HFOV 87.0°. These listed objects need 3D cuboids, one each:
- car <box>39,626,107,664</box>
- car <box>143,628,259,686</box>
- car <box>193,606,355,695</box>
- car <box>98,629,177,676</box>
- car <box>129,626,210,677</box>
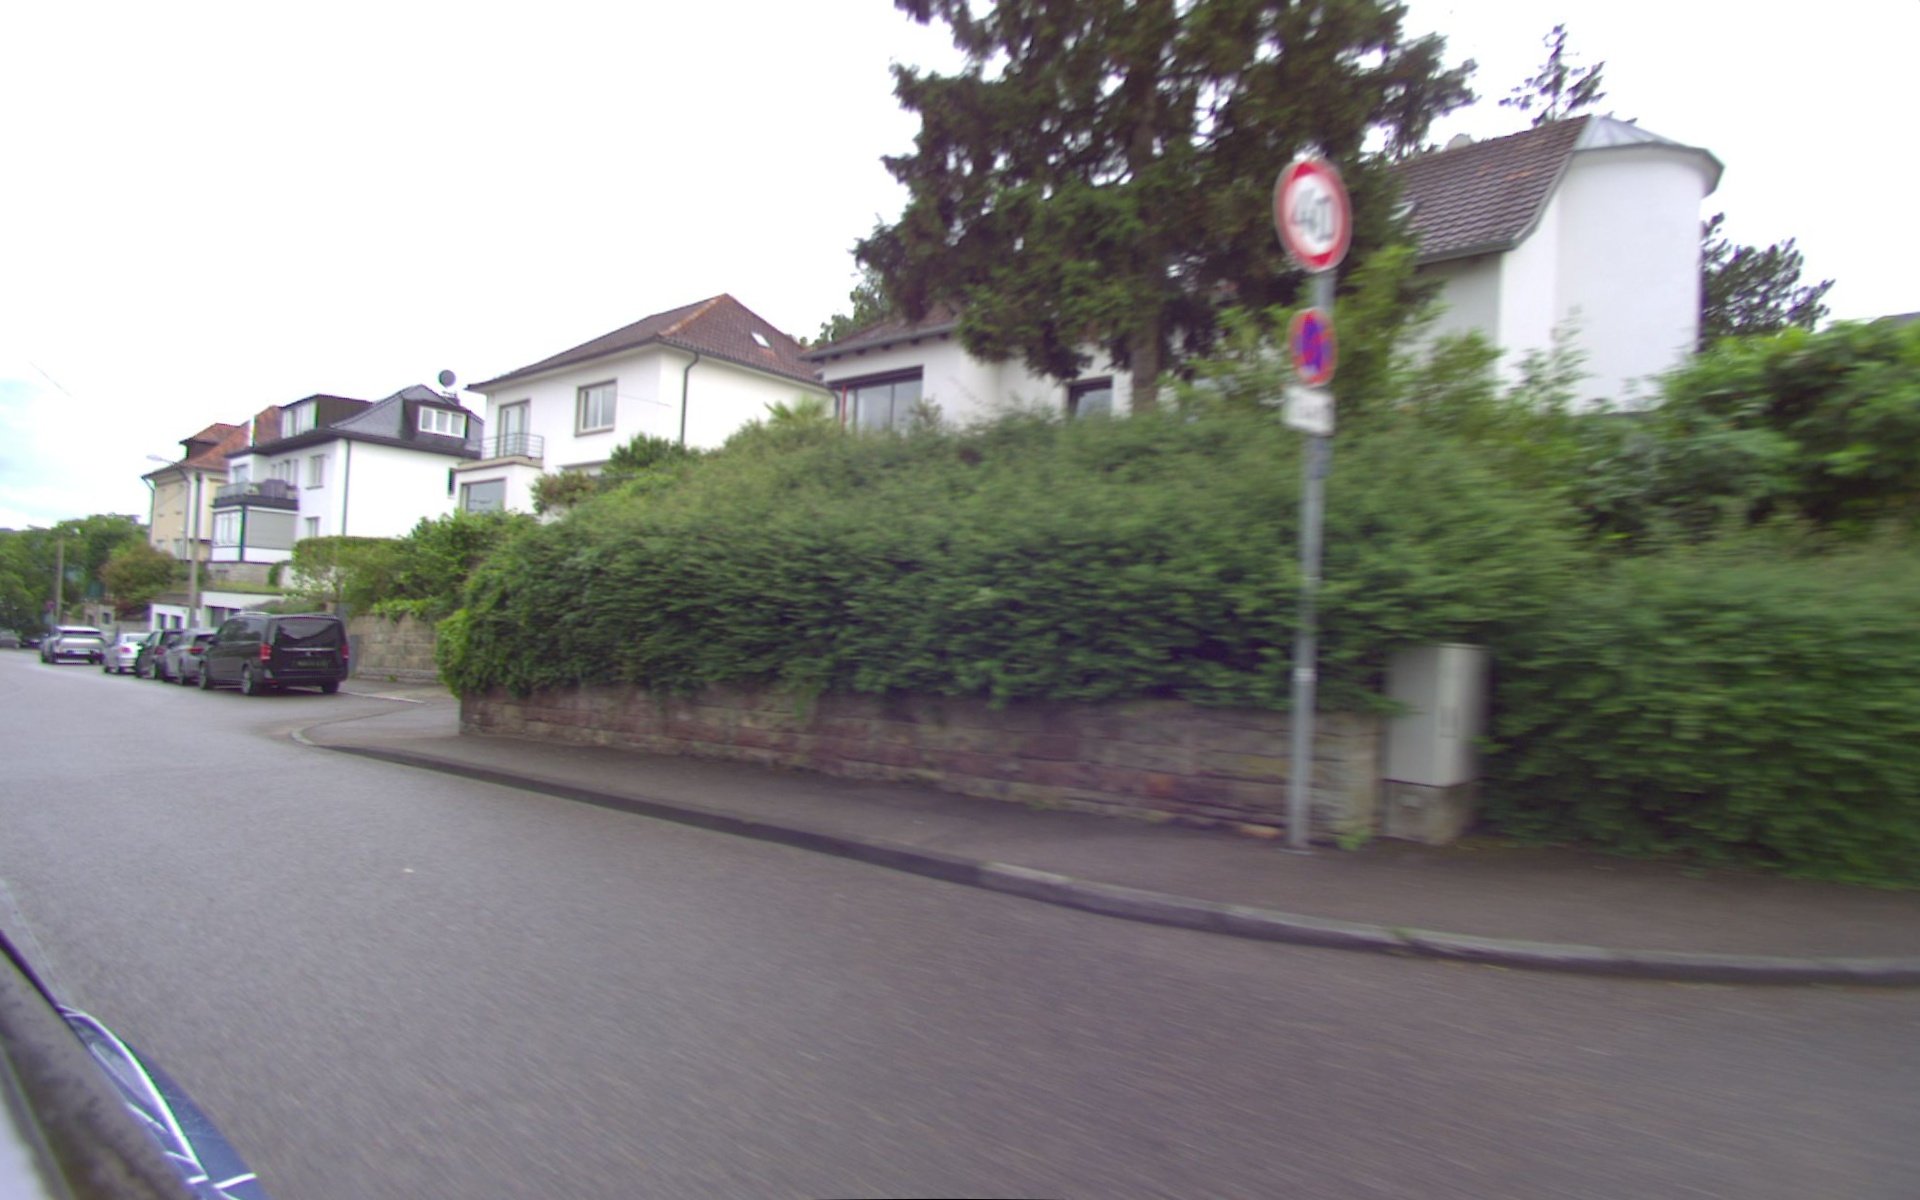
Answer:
[{"bbox_3d":[-37.617,1.869,42.892,4.001,1.512,1.843,-1,-2,44],"label":"car"},{"bbox_3d":[-21.459,1.558,28.567,4.399,1.502,1.675,-1,-1,40],"label":"car"},{"bbox_3d":[-16.807,1.181,24.713,4.769,1.972,1.974,-1,-2,39],"label":"car"},{"bbox_3d":[-28.131,1.755,34.591,3.436,1.502,1.573,-2,-1,42],"label":"car"},{"bbox_3d":[-24.672,1.574,31.571,2.892,1.502,1.502,-2,-1,41],"label":"car"}]
